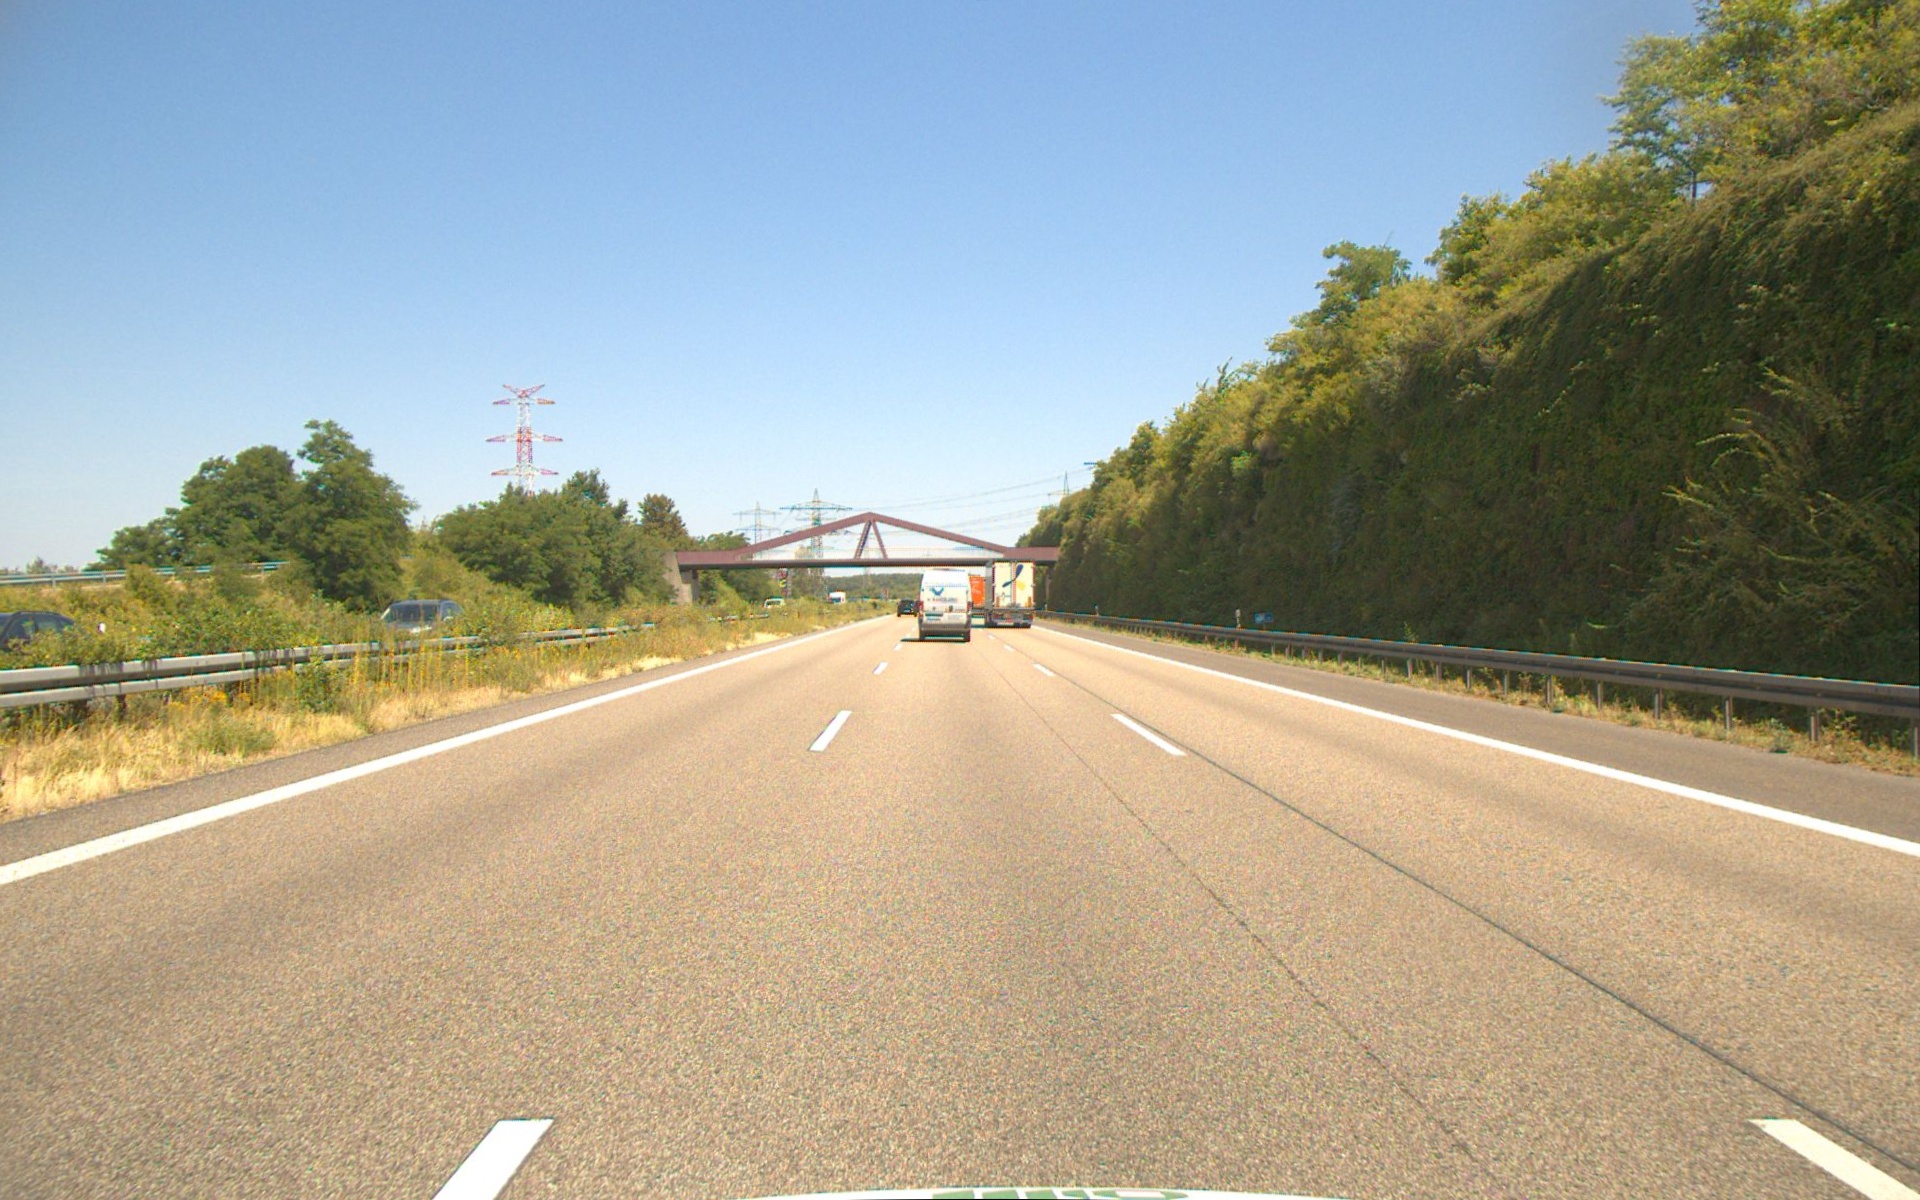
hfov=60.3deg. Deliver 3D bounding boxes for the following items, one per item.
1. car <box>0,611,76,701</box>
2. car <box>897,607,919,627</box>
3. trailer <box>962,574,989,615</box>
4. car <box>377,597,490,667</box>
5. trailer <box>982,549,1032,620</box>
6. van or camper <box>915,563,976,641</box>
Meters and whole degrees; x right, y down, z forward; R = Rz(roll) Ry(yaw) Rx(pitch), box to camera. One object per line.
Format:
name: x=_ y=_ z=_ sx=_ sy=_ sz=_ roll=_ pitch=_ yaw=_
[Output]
car: x=-16.192 y=0.914 z=26.447 sx=1.850 sy=1.412 sz=4.360 roll=-1 pitch=0 yaw=-2
car: x=-5.105 y=1.641 z=163.525 sx=1.941 sy=1.849 sz=3.813 roll=2 pitch=0 yaw=1
trailer: x=1.521 y=-0.564 z=167.617 sx=2.584 sy=3.965 sz=7.067 roll=2 pitch=0 yaw=0
car: x=-12.650 y=0.726 z=39.950 sx=1.568 sy=1.585 sz=3.853 roll=-1 pitch=0 yaw=-2
trailer: x=2.864 y=-0.901 z=103.345 sx=2.584 sy=4.131 sz=12.364 roll=2 pitch=0 yaw=0
van or camper: x=-0.602 y=0.078 z=64.374 sx=2.185 sy=2.831 sz=5.421 roll=2 pitch=0 yaw=-1
